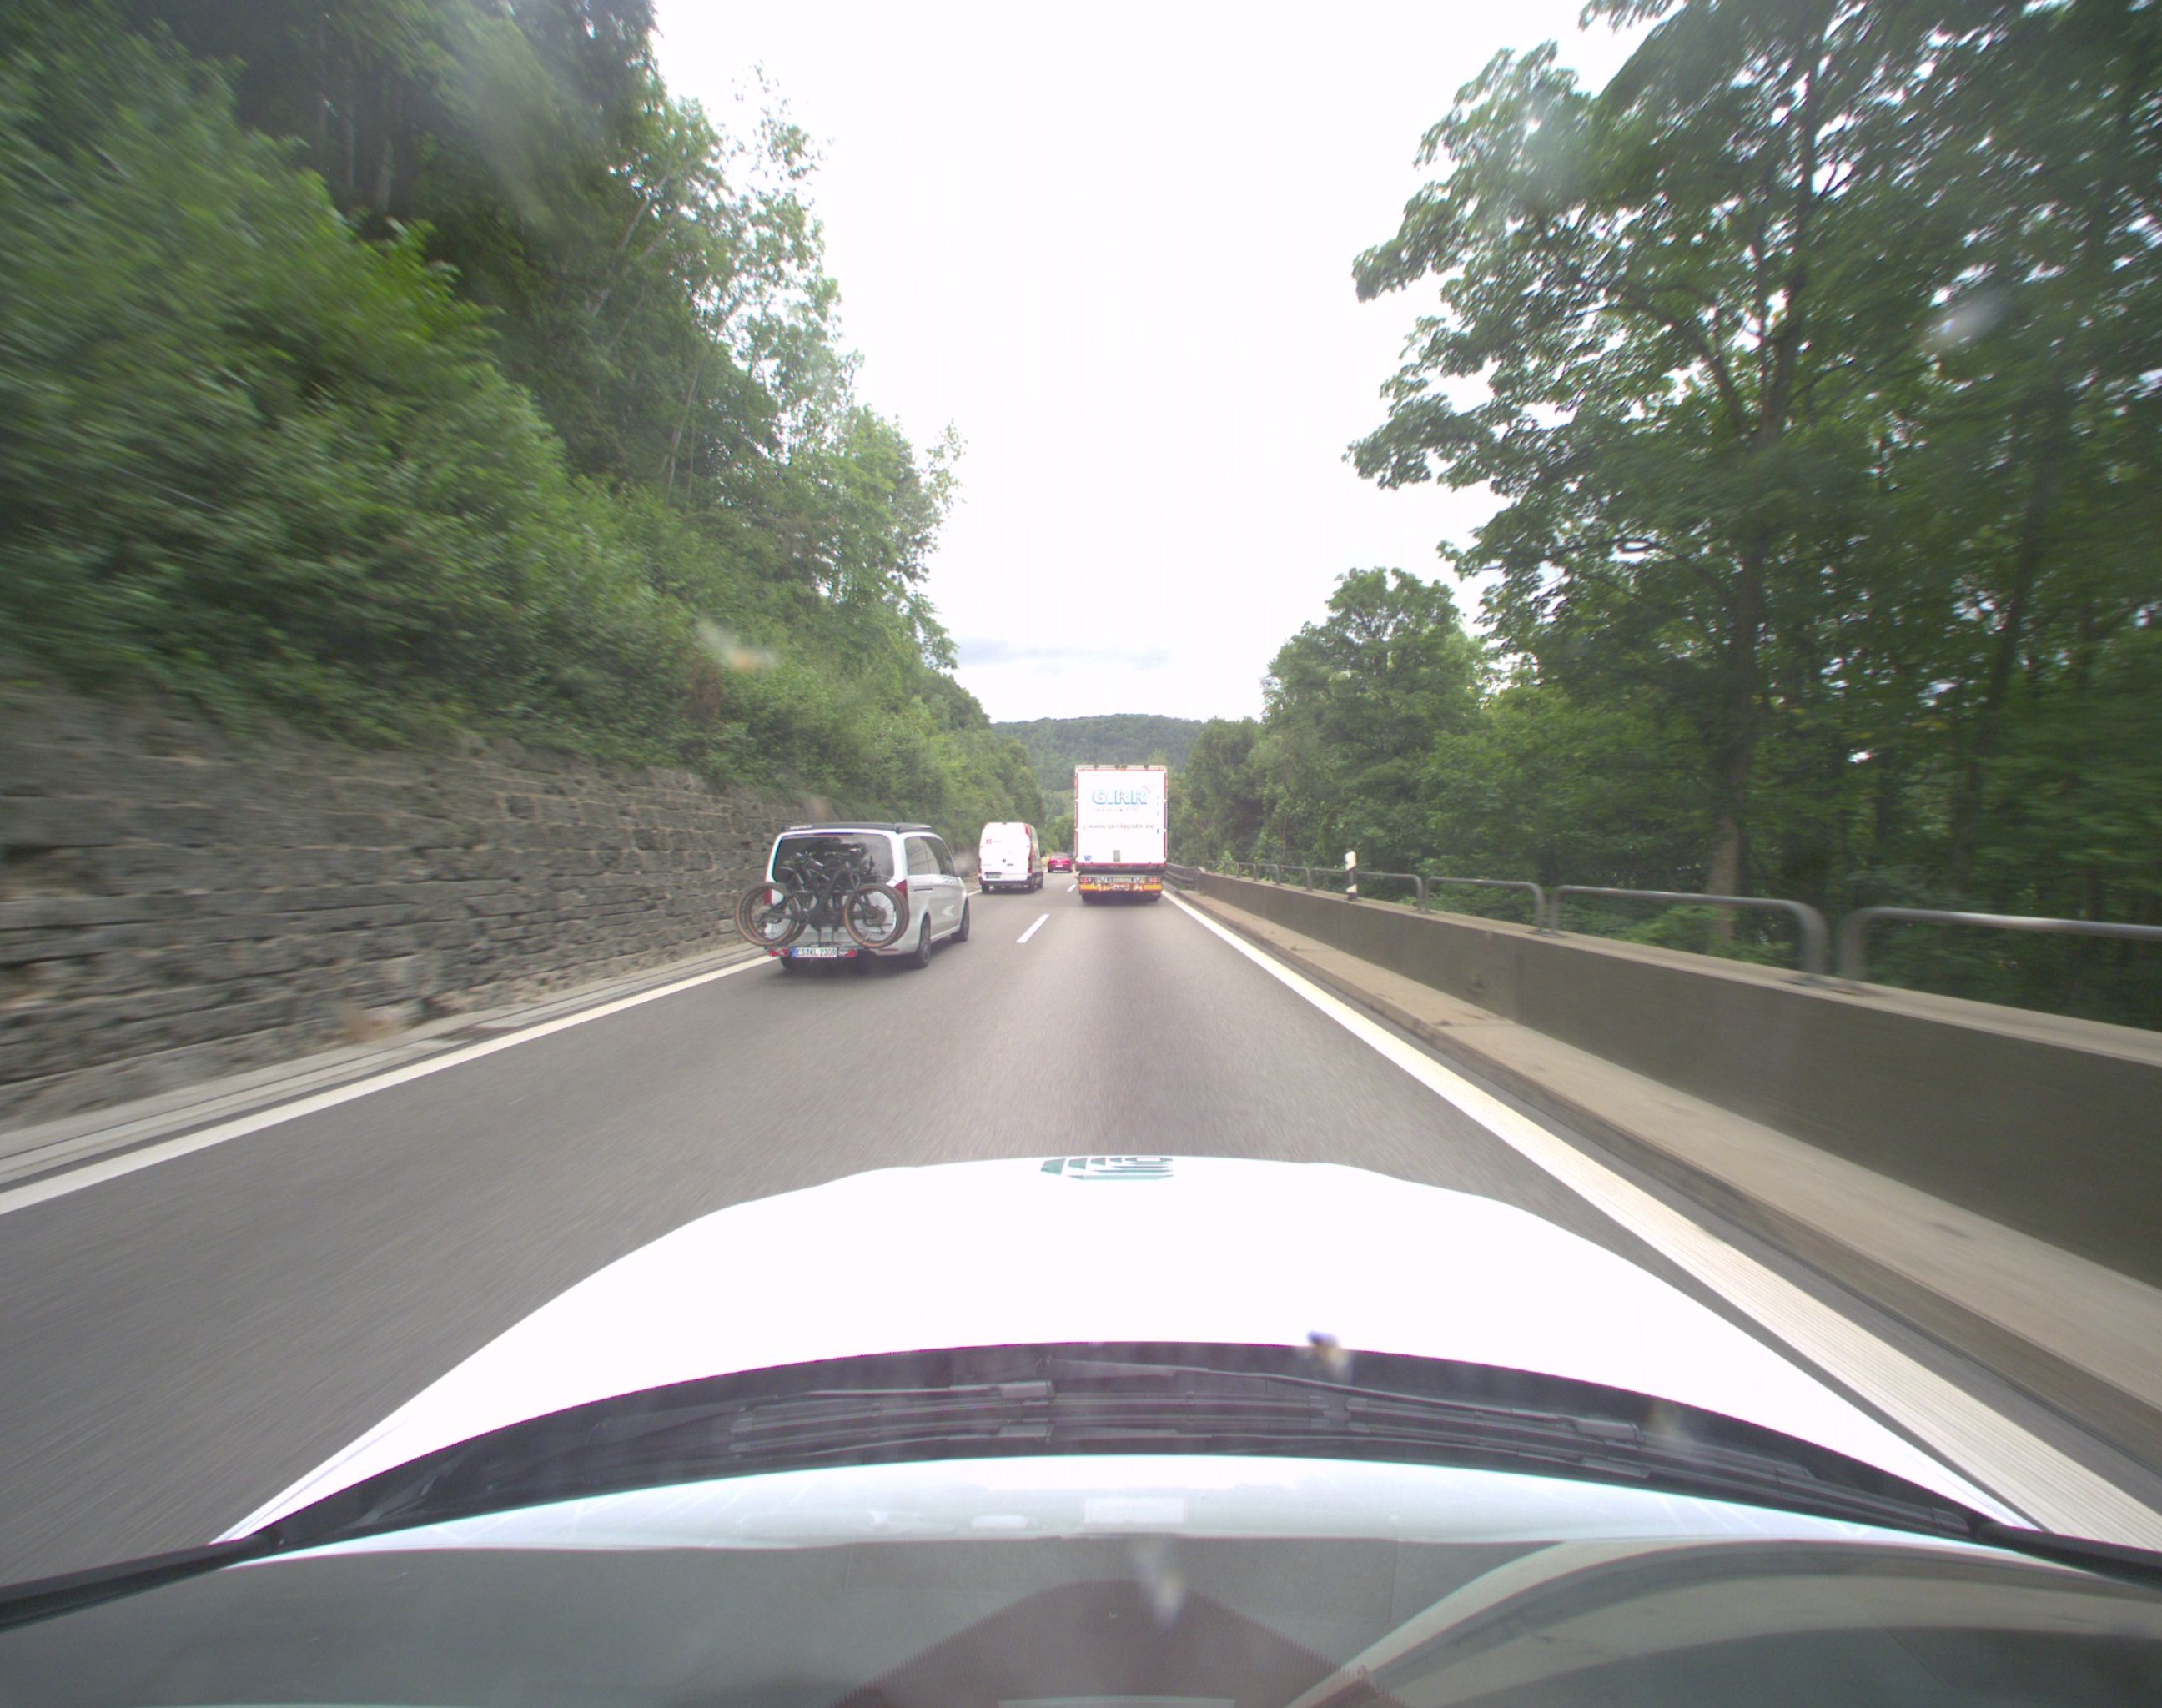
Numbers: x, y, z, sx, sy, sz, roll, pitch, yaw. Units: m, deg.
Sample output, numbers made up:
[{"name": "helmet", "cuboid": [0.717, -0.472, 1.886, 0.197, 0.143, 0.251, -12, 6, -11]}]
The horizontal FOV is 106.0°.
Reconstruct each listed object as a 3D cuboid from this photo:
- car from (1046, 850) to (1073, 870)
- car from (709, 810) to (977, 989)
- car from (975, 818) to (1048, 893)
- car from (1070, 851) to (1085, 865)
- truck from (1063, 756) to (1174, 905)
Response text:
[{"name": "car", "cuboid": [-1.581, 0.442, 60.965, 1.759, 1.460, 4.413, -2, 0, 2]}, {"name": "car", "cuboid": [-3.004, 0.483, 11.996, 1.986, 1.953, 6.149, 0, 0, 1]}, {"name": "car", "cuboid": [-2.594, 0.065, 31.901, 2.018, 2.585, 6.277, -2, 0, 2]}, {"name": "car", "cuboid": [-0.378, 0.511, 98.176, 1.663, 1.638, 4.069, -2, 0, 2]}, {"name": "truck", "cuboid": [1.211, -0.641, 26.688, 2.897, 3.960, 9.284, -1, 0, 2]}]
